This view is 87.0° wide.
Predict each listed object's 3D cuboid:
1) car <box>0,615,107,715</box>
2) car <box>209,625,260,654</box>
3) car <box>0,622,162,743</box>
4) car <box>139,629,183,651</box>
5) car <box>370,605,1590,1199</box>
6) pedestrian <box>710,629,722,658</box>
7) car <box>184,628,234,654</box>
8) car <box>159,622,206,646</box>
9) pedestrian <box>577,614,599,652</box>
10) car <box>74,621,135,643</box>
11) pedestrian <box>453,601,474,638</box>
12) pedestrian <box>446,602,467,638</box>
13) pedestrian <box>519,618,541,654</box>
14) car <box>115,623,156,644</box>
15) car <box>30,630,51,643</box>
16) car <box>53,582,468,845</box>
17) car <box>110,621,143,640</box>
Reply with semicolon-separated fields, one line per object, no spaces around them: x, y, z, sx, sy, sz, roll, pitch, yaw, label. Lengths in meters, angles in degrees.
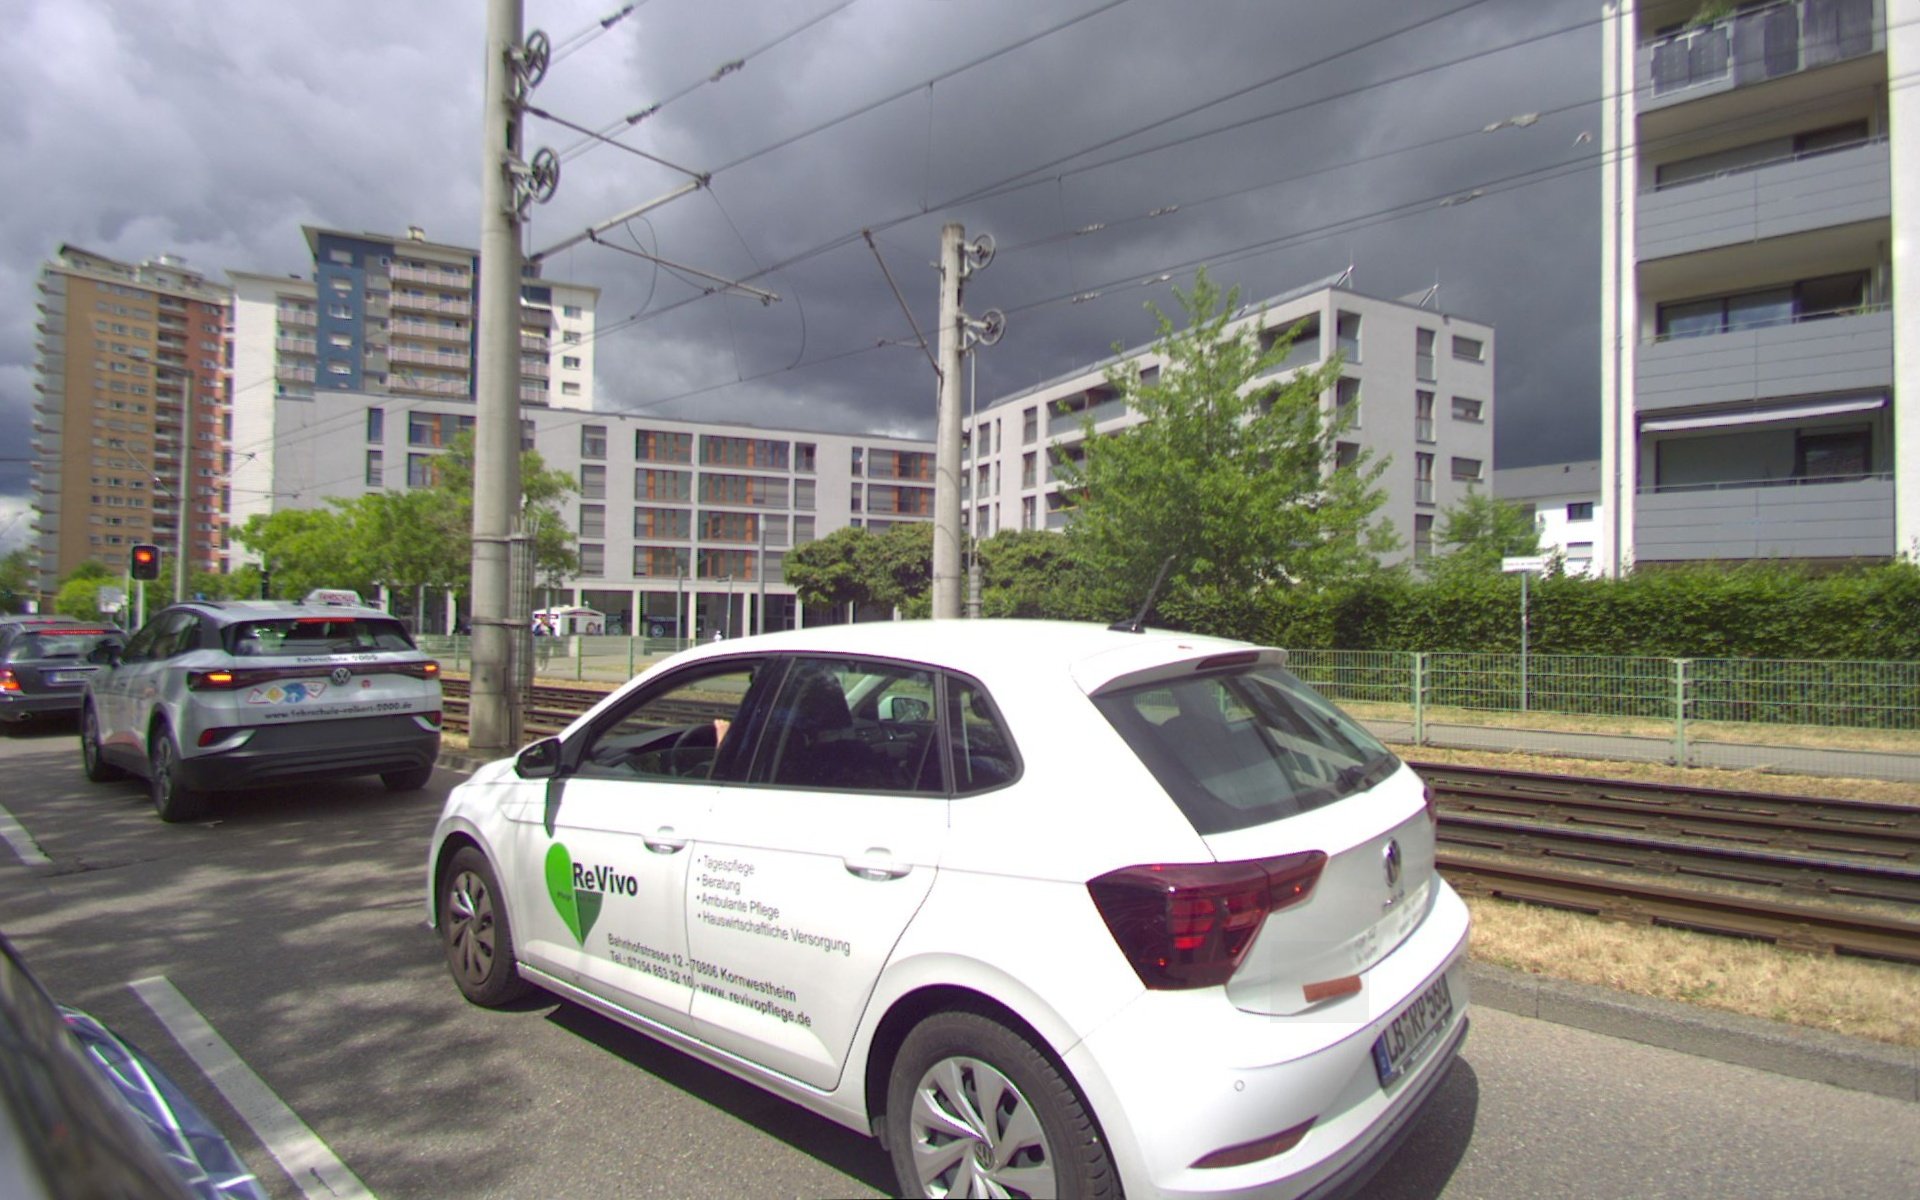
-17.198;1.127;18.616;4.176;1.672;1.837;-1;-2;43;car
-42.862;2.324;59.740;3.805;1.635;1.867;-1;-2;45;car
-12.824;1.040;14.228;4.464;1.456;1.791;-1;-2;42;car
-57.048;2.835;72.216;3.801;1.551;1.758;-1;-1;41;car
-0.298;0.761;3.439;3.937;1.417;1.729;-1;-2;40;car
-16.569;2.928;68.696;0.737;1.920;0.540;0;-1;-21;pedestrian
-47.529;2.570;64.037;3.803;1.551;1.868;-1;-1;42;car
-52.309;2.273;68.080;3.801;1.551;1.758;-1;-1;41;car
-16.271;1.446;44.227;0.744;1.623;0.535;-1;-1;19;pedestrian
-79.325;2.928;93.932;1.856;1.940;4.495;0;-1;0;car
-22.619;0.908;46.101;0.538;1.666;0.739;-1;-2;41;pedestrian
-23.183;0.926;46.593;0.538;1.666;0.739;-1;-2;41;pedestrian
-24.259;2.024;57.136;0.906;2.029;0.728;-1;-1;24;pedestrian
-62.238;2.519;76.378;3.801;1.551;1.758;-1;-1;41;car
-108.870;4.305;119.838;1.756;1.511;3.807;1;-1;-44;car
-6.175;0.785;8.726;4.430;1.703;1.838;-1;-2;40;car
-75.503;2.749;91.661;3.801;1.672;1.758;-1;-1;41;car
